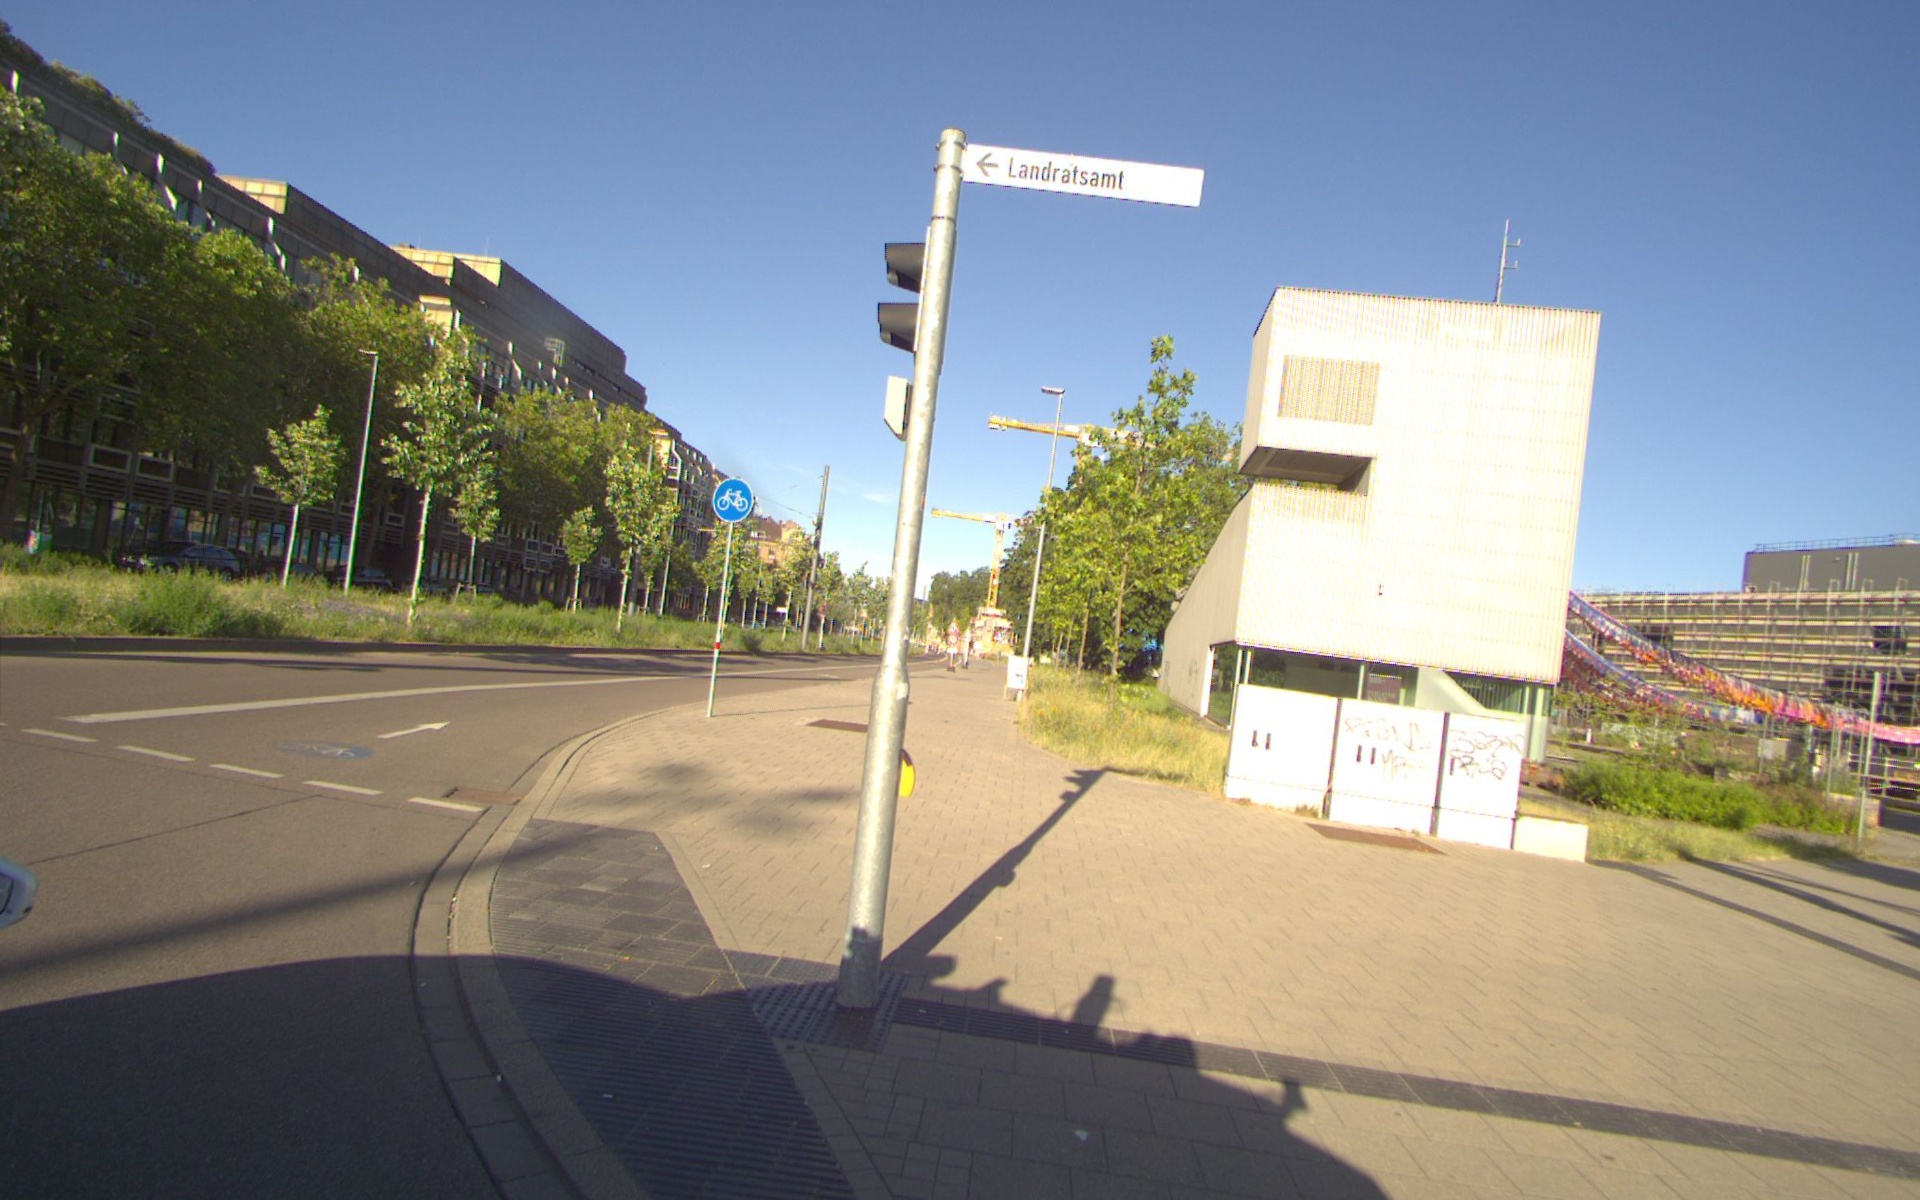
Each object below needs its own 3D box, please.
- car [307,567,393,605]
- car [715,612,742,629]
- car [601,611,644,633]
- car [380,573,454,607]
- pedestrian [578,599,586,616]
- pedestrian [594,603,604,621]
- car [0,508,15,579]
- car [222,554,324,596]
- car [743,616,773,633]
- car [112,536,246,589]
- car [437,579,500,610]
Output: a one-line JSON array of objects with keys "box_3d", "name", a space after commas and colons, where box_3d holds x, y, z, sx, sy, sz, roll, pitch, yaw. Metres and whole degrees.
[{"box_3d": [-34.300, -0.750, 56.727, 1.717, 1.574, 4.629, 8, -3, 3], "name": "car"}, {"box_3d": [-27.115, 2.402, 117.737, 1.874, 1.593, 4.306, 7, -2, 2], "name": "car"}, {"box_3d": [-26.888, 1.780, 80.276, 1.683, 1.470, 3.581, 4, -3, 10], "name": "car"}, {"box_3d": [-34.081, -0.607, 63.277, 1.880, 1.651, 4.368, 5, -3, 6], "name": "car"}, {"box_3d": [-36.205, 0.699, 96.300, 0.402, 1.579, 0.447, 7, -1, 5], "name": "pedestrian"}, {"box_3d": [-33.680, 1.098, 93.894, 0.658, 1.550, 0.645, 7, -2, -28], "name": "pedestrian"}, {"box_3d": [-28.897, -1.871, 26.463, 2.223, 2.037, 5.717, 5, -3, 5], "name": "car"}, {"box_3d": [-34.651, -1.242, 50.897, 1.962, 1.538, 4.006, 8, -2, 7], "name": "car"}, {"box_3d": [-22.221, 2.739, 110.976, 1.811, 1.612, 4.698, 7, -2, 6], "name": "car"}, {"box_3d": [-35.160, -1.632, 45.485, 1.963, 1.698, 4.874, 8, -3, 2], "name": "car"}, {"box_3d": [-33.471, -0.361, 68.663, 1.831, 1.614, 4.283, 6, -3, 5], "name": "car"}]
